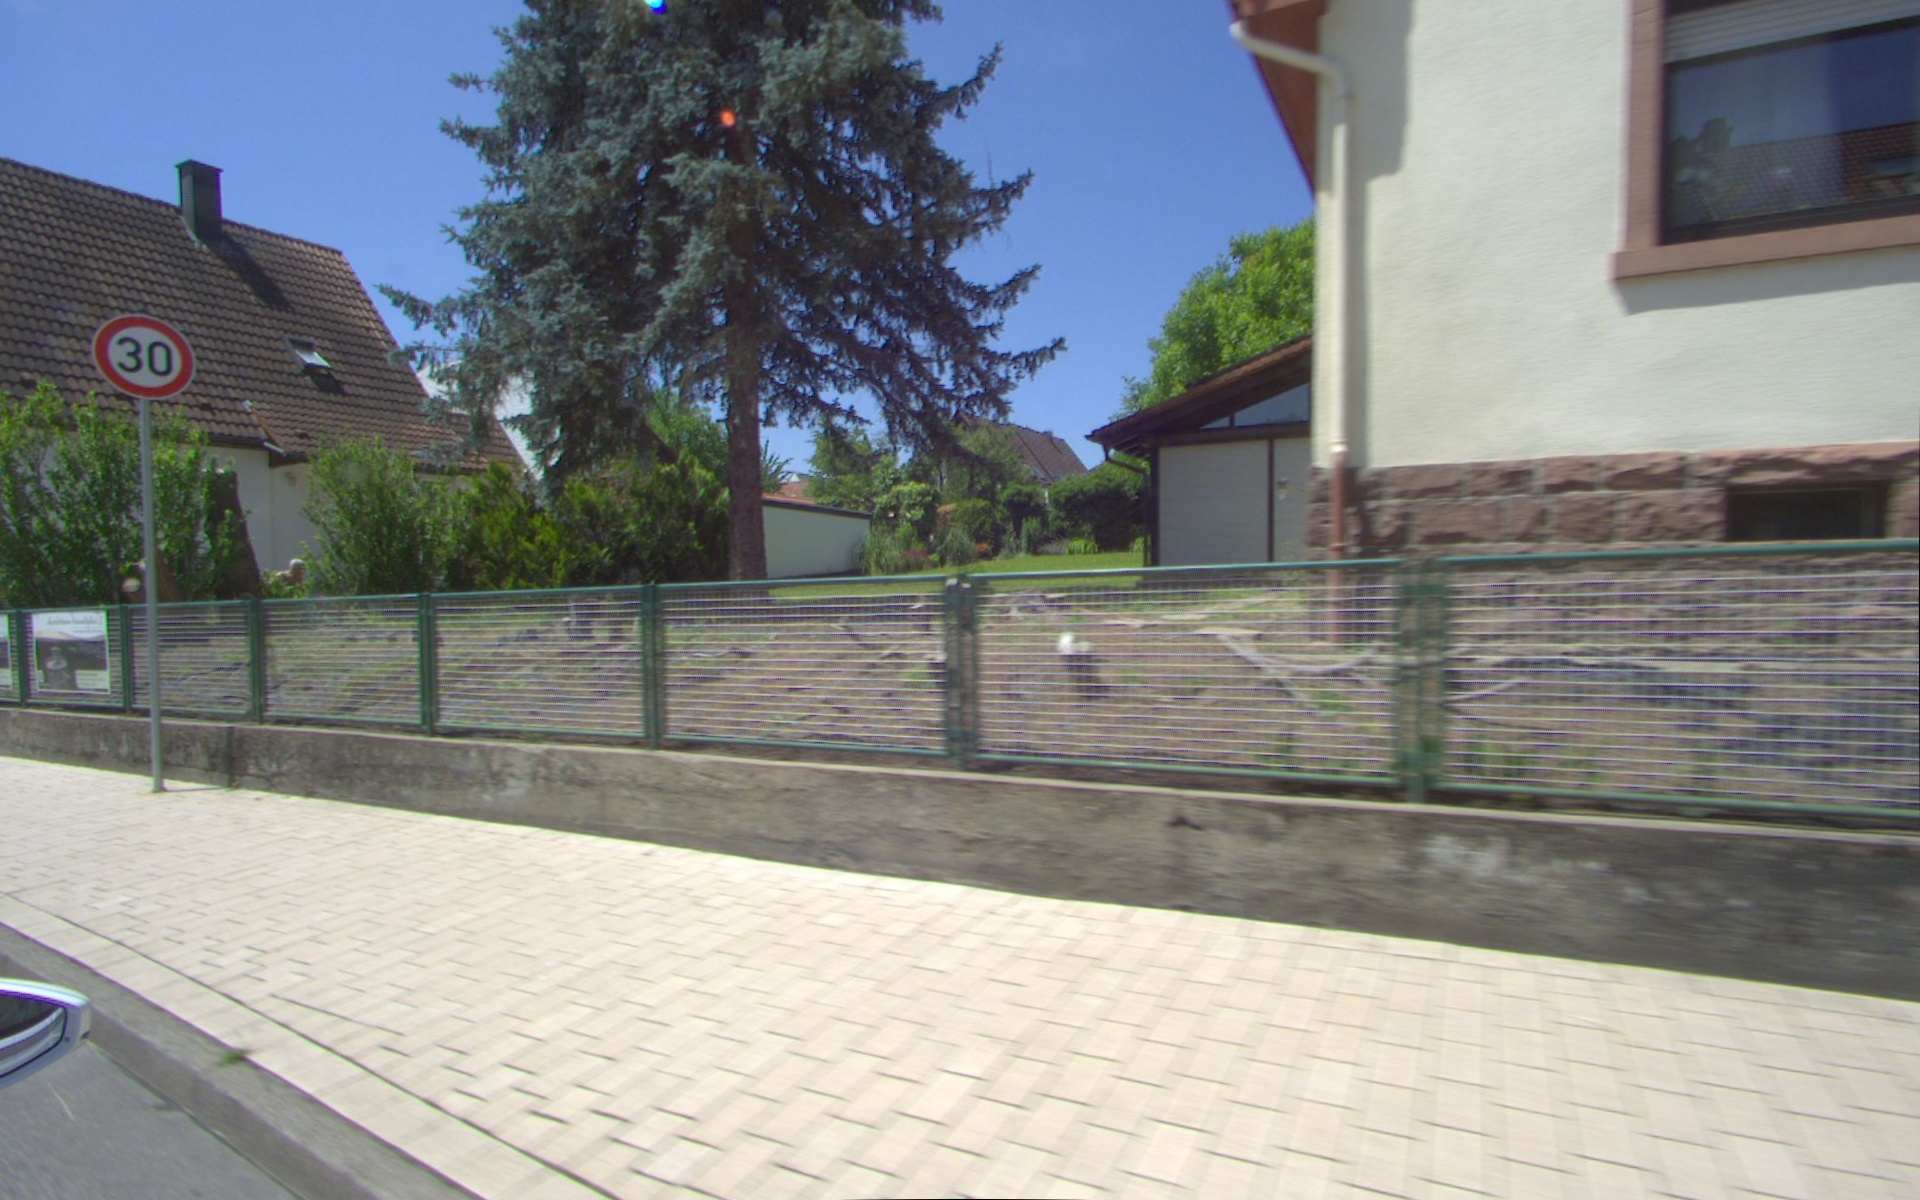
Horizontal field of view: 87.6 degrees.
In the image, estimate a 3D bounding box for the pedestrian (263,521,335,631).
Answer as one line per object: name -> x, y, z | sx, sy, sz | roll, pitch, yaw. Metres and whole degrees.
pedestrian -> -10.178, -0.368, 15.423 | 0.544, 1.639, 0.603 | -1, 5, 28
